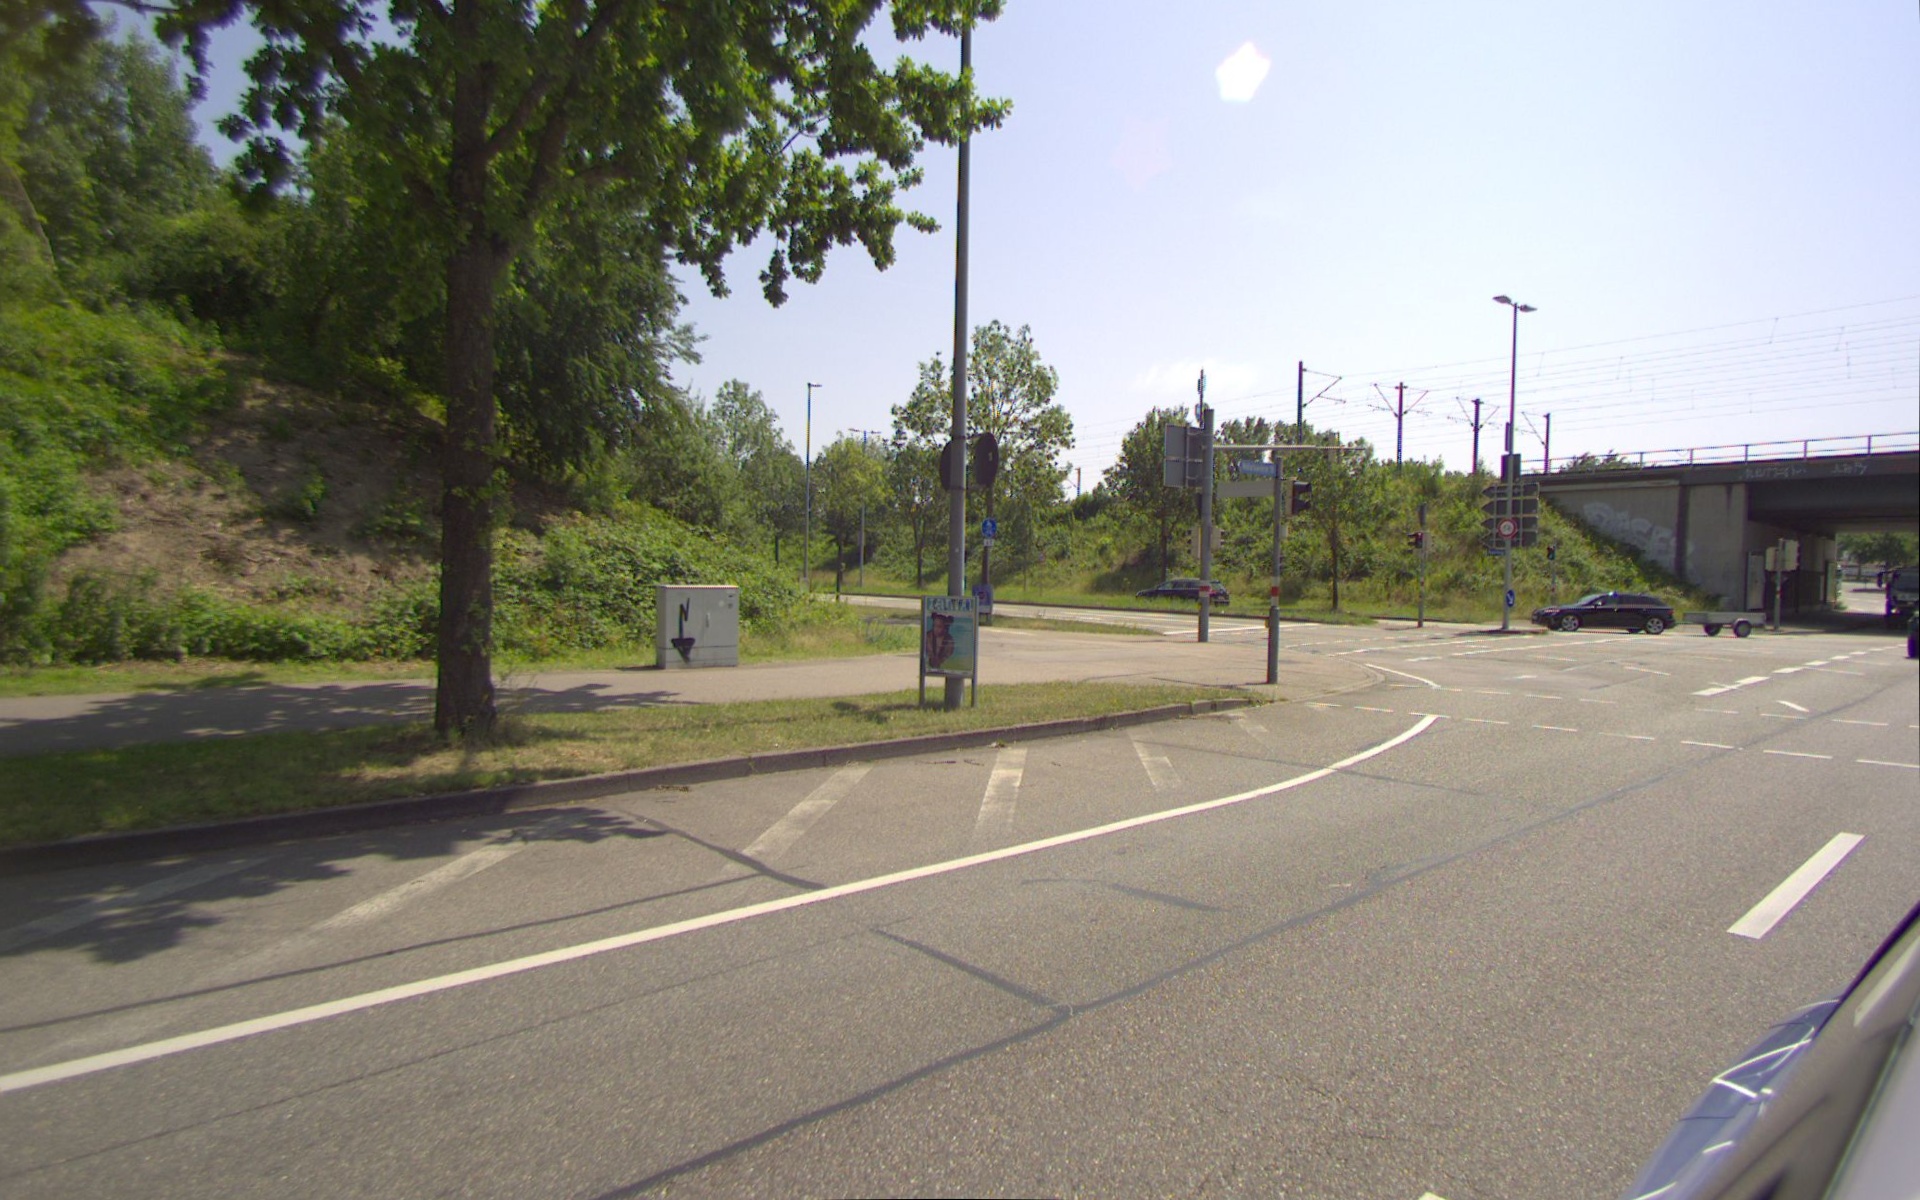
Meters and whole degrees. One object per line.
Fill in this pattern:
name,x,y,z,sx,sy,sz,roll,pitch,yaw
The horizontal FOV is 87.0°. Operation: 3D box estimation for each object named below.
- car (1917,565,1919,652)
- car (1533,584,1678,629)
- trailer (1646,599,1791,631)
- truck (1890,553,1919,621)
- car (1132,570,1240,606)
car,24.773,0.125,24.520,4.478,2.180,1.840,-1,2,-41
car,22.507,0.208,35.432,3.843,1.407,1.803,2,1,12
trailer,26.214,0.522,35.054,3.759,0.953,1.682,1,2,-1
truck,45.077,-0.562,46.615,8.377,2.952,2.880,0,1,-44
car,10.375,-0.586,46.728,1.779,1.521,4.664,0,2,-43
